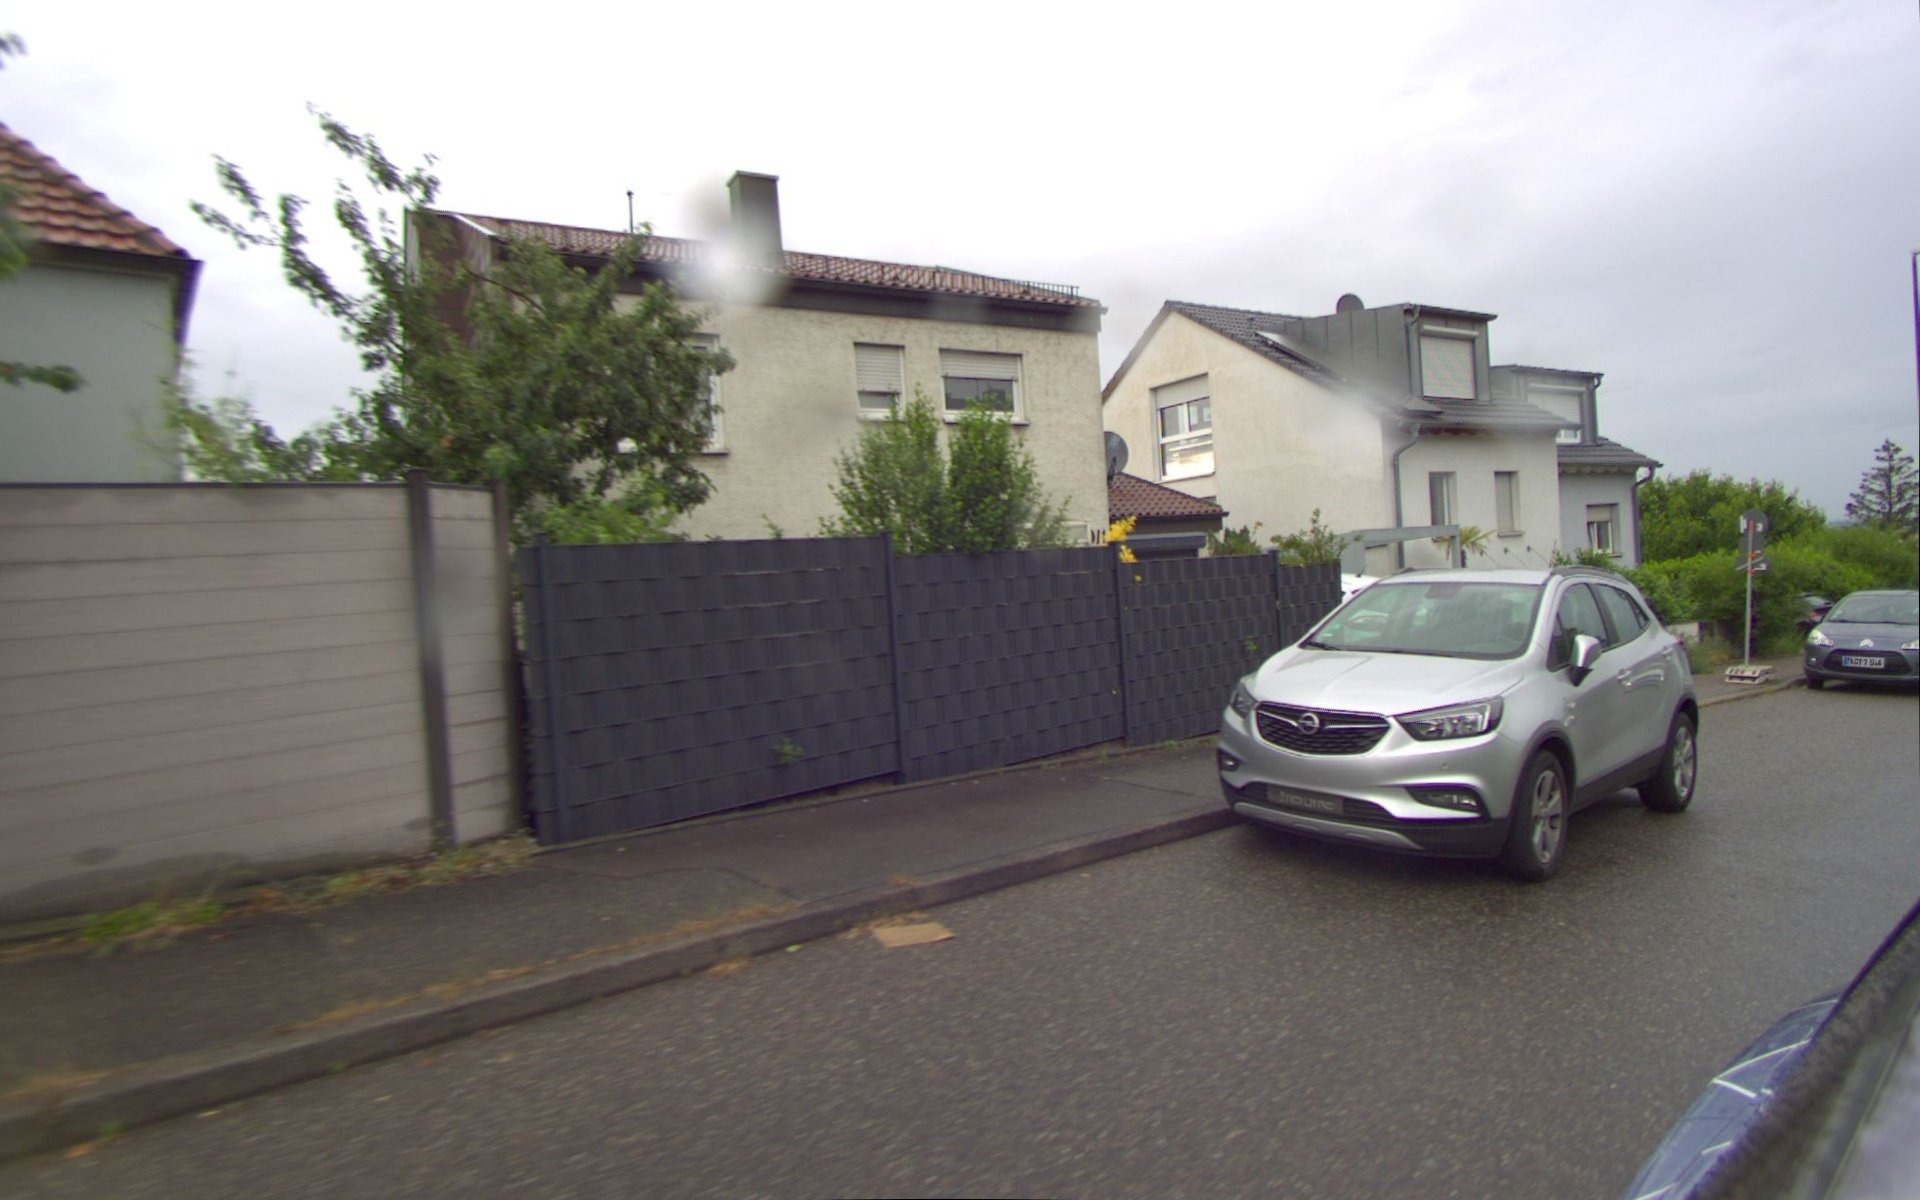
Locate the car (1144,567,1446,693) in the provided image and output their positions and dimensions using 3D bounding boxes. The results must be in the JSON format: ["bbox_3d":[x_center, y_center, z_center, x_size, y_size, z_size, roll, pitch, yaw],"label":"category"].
[{"bbox_3d":[4.893,0.371,15.295,1.898,1.609,4.001,-2,1,-34],"label":"car"}]

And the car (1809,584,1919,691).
[{"bbox_3d":[14.810,0.518,15.749,3.694,1.485,1.664,0,2,-38],"label":"car"}]

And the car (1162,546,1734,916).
[{"bbox_3d":[3.357,0.532,6.563,4.213,1.647,1.808,-1,2,-41],"label":"car"}]

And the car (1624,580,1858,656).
[{"bbox_3d":[19.122,0.483,24.974,1.960,1.461,4.001,-1,-5,-29],"label":"car"}]

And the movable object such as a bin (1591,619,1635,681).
[{"bbox_3d":[10.369,0.785,16.063,0.490,0.951,0.433,0,0,-35],"label":"movable object such as a bin"}]

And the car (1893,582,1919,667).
[{"bbox_3d":[18.892,0.441,18.639,4.156,1.485,1.774,0,2,-37],"label":"car"}]
